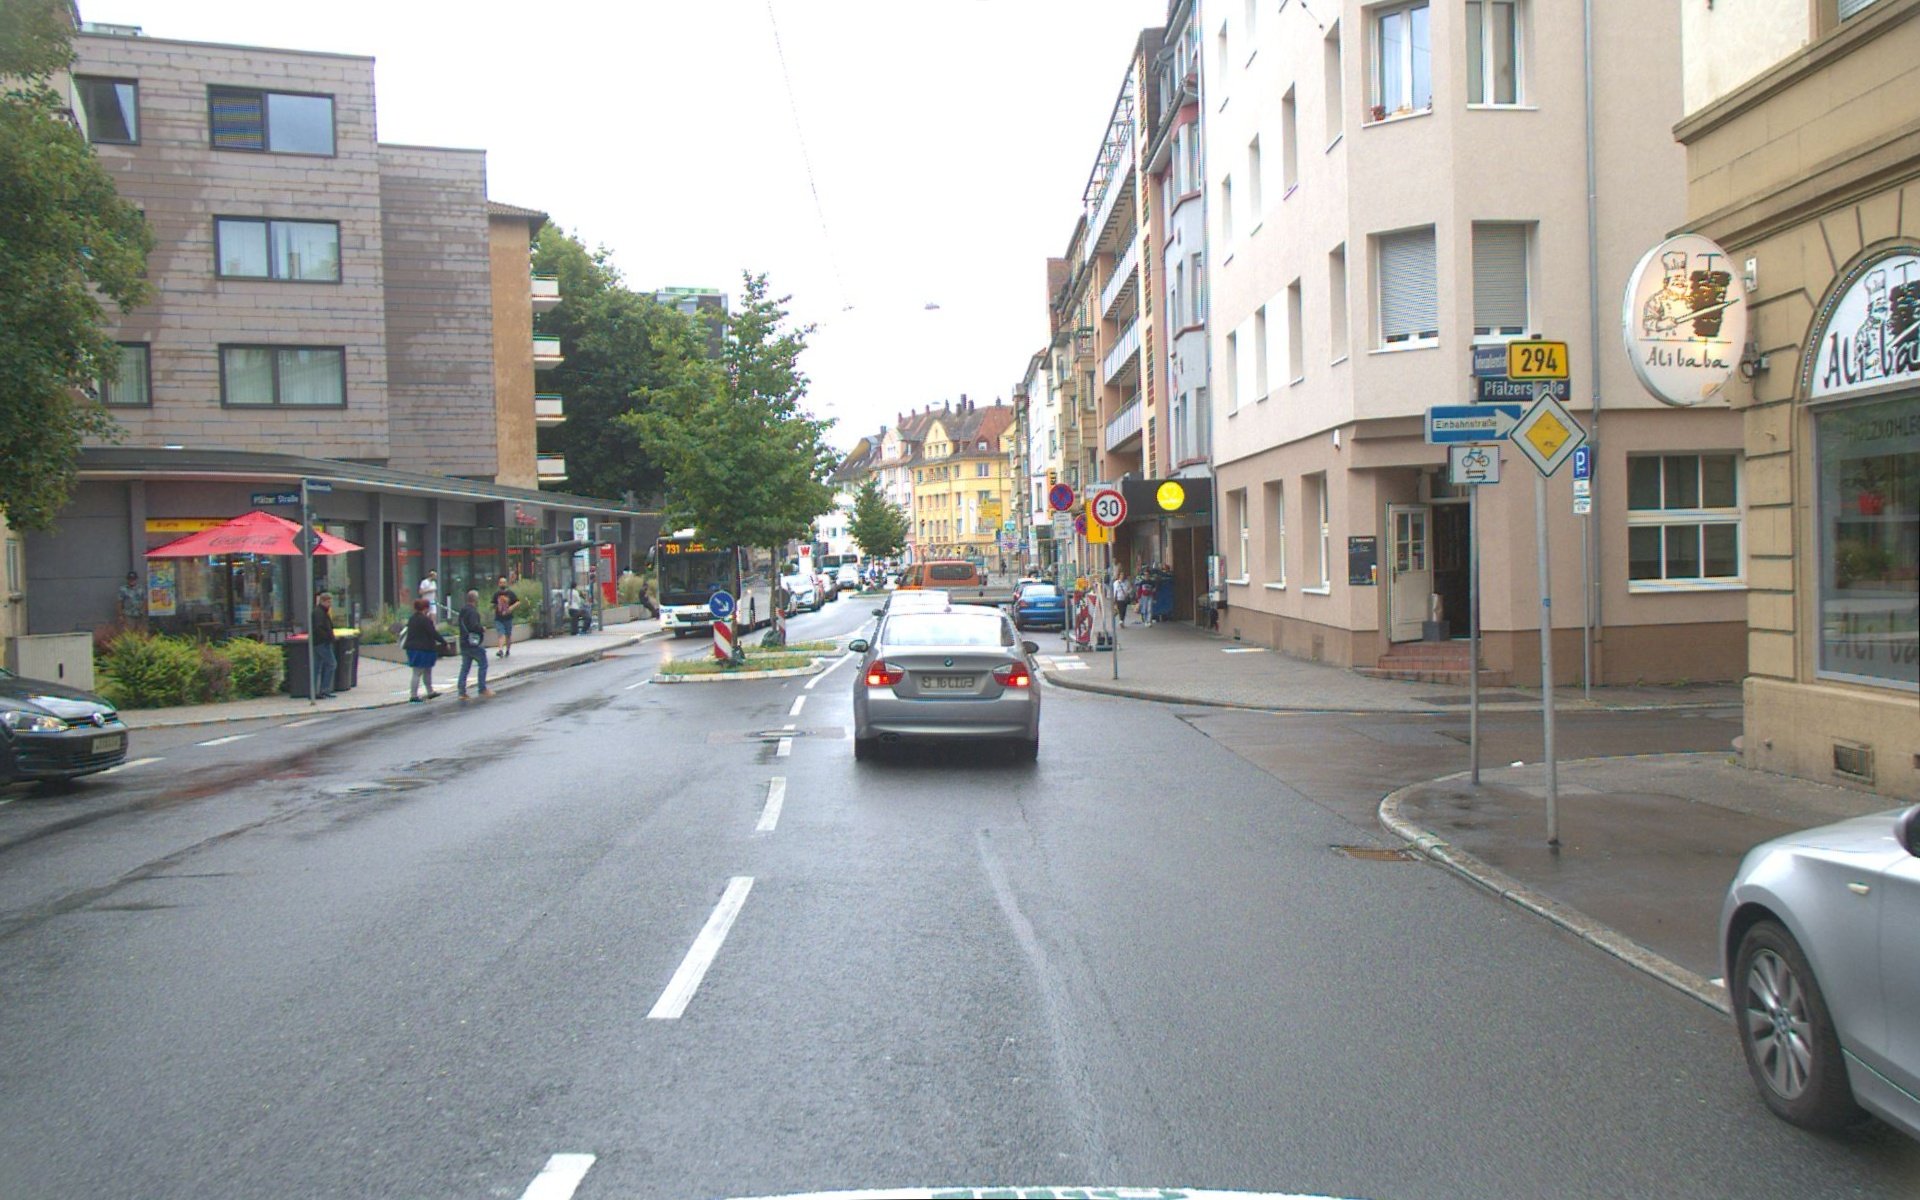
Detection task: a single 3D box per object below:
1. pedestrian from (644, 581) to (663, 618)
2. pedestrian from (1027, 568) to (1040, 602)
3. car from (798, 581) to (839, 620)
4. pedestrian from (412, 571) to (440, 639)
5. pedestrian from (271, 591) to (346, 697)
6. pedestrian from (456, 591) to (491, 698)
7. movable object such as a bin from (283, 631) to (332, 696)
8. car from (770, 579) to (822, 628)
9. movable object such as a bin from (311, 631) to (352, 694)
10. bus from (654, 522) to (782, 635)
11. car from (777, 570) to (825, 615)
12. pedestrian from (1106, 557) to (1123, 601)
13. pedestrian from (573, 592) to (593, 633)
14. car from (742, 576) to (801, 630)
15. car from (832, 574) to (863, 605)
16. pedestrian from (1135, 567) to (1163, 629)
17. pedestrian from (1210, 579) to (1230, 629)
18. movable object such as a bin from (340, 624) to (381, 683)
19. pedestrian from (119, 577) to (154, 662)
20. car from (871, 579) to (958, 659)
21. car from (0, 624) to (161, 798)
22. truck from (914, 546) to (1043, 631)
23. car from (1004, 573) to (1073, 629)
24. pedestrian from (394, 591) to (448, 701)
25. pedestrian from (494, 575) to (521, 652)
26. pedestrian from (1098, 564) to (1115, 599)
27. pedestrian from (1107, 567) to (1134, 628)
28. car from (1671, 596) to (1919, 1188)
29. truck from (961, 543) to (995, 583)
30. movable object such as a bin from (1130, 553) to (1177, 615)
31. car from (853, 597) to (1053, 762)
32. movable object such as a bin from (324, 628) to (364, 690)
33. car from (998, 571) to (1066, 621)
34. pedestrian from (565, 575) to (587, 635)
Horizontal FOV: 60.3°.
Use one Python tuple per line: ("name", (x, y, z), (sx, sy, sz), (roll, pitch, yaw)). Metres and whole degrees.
("pedestrian", (-11.941, -0.010, 64.487), (0.607, 1.402, 0.544), (1, -1, 1))
("pedestrian", (3.221, -0.661, 72.336), (0.511, 1.446, 0.430), (1, -1, 9))
("car", (-7.731, 0.050, 90.549), (1.953, 2.049, 3.999), (1, -1, -1))
("pedestrian", (-13.880, 0.132, 43.005), (0.647, 1.735, 0.658), (2, -1, -18))
("pedestrian", (-11.080, 0.741, 28.174), (1.043, 1.761, 0.712), (-1, 1, -10))
("pedestrian", (-7.963, 0.725, 27.074), (0.458, 1.739, 0.541), (2, -1, -21))
("movable object such as a bin", (-11.407, 1.101, 28.940), (0.542, 1.100, 0.731), (-2, -1, 0))
("car", (-7.171, 0.186, 72.815), (1.953, 2.049, 3.999), (-1, -1, -1))
("movable object such as a bin", (-11.322, 1.115, 29.794), (0.480, 1.100, 0.606), (-2, -1, 0))
("bus", (-7.764, -0.548, 54.637), (2.627, 3.257, 11.952), (1, -1, -1))
("car", (-7.691, -0.317, 80.230), (1.953, 2.049, 3.999), (1, -1, -1))
("pedestrian", (6.022, -0.826, 64.557), (0.602, 1.690, 0.755), (1, -1, 6))
("pedestrian", (-11.498, 0.379, 50.414), (0.455, 1.252, 0.544), (1, -1, 1))
("car", (-7.513, 0.162, 66.252), (1.953, 2.049, 3.999), (2, -1, -1))
("car", (-7.861, -0.728, 115.979), (1.953, 2.049, 3.999), (1, -1, -1))
("pedestrian", (5.266, -0.051, 46.133), (0.734, 1.690, 0.755), (1, -1, 6))
("pedestrian", (6.558, 0.106, 41.734), (0.404, 1.223, 0.357), (-3, 1, 2))
("movable object such as a bin", (-11.261, 1.001, 31.074), (0.462, 1.090, 0.538), (-3, -1, 36))
("pedestrian", (-18.184, 0.422, 36.518), (0.627, 1.847, 0.631), (-2, 1, -30))
("car", (-0.907, 0.379, 32.202), (1.570, 1.445, 3.286), (1, -1, -3))
("car", (-9.209, 0.919, 14.286), (3.738, 1.414, 1.742), (0, -1, -1))
("truck", (0.443, -0.313, 45.924), (2.181, 2.153, 4.629), (3, 0, -18))
("car", (2.301, 0.069, 49.591), (1.772, 1.546, 3.998), (1, -1, -1))
("pedestrian", (-8.901, 0.746, 27.303), (0.729, 1.738, 0.676), (-3, 1, -21))
("pedestrian", (-10.795, 0.324, 39.454), (0.533, 1.821, 0.465), (2, -1, -9))
("pedestrian", (6.131, -0.777, 69.203), (0.552, 1.446, 0.797), (1, -1, 12))
("pedestrian", (4.523, -0.058, 46.611), (0.733, 1.690, 0.837), (1, -1, 6))
("car", (3.207, 0.732, 3.566), (1.537, 1.489, 4.089), (-3, 0, 0))
("truck", (1.230, -2.569, 115.438), (2.172, 2.589, 4.778), (1, -1, -1))
("movable object such as a bin", (5.653, -0.455, 48.467), (1.100, 1.732, 1.433), (-2, -1, -3))
("car", (-0.071, 0.682, 15.853), (1.720, 1.386, 3.164), (0, 1, 0))
("movable object such as a bin", (-11.329, 1.084, 30.442), (0.480, 1.100, 0.606), (-2, -1, 0))
("car", (2.359, -0.116, 55.118), (1.953, 1.546, 3.999), (1, -1, -1))
("pedestrian", (-11.271, 0.144, 48.590), (0.532, 1.739, 0.465), (2, -1, -7))
